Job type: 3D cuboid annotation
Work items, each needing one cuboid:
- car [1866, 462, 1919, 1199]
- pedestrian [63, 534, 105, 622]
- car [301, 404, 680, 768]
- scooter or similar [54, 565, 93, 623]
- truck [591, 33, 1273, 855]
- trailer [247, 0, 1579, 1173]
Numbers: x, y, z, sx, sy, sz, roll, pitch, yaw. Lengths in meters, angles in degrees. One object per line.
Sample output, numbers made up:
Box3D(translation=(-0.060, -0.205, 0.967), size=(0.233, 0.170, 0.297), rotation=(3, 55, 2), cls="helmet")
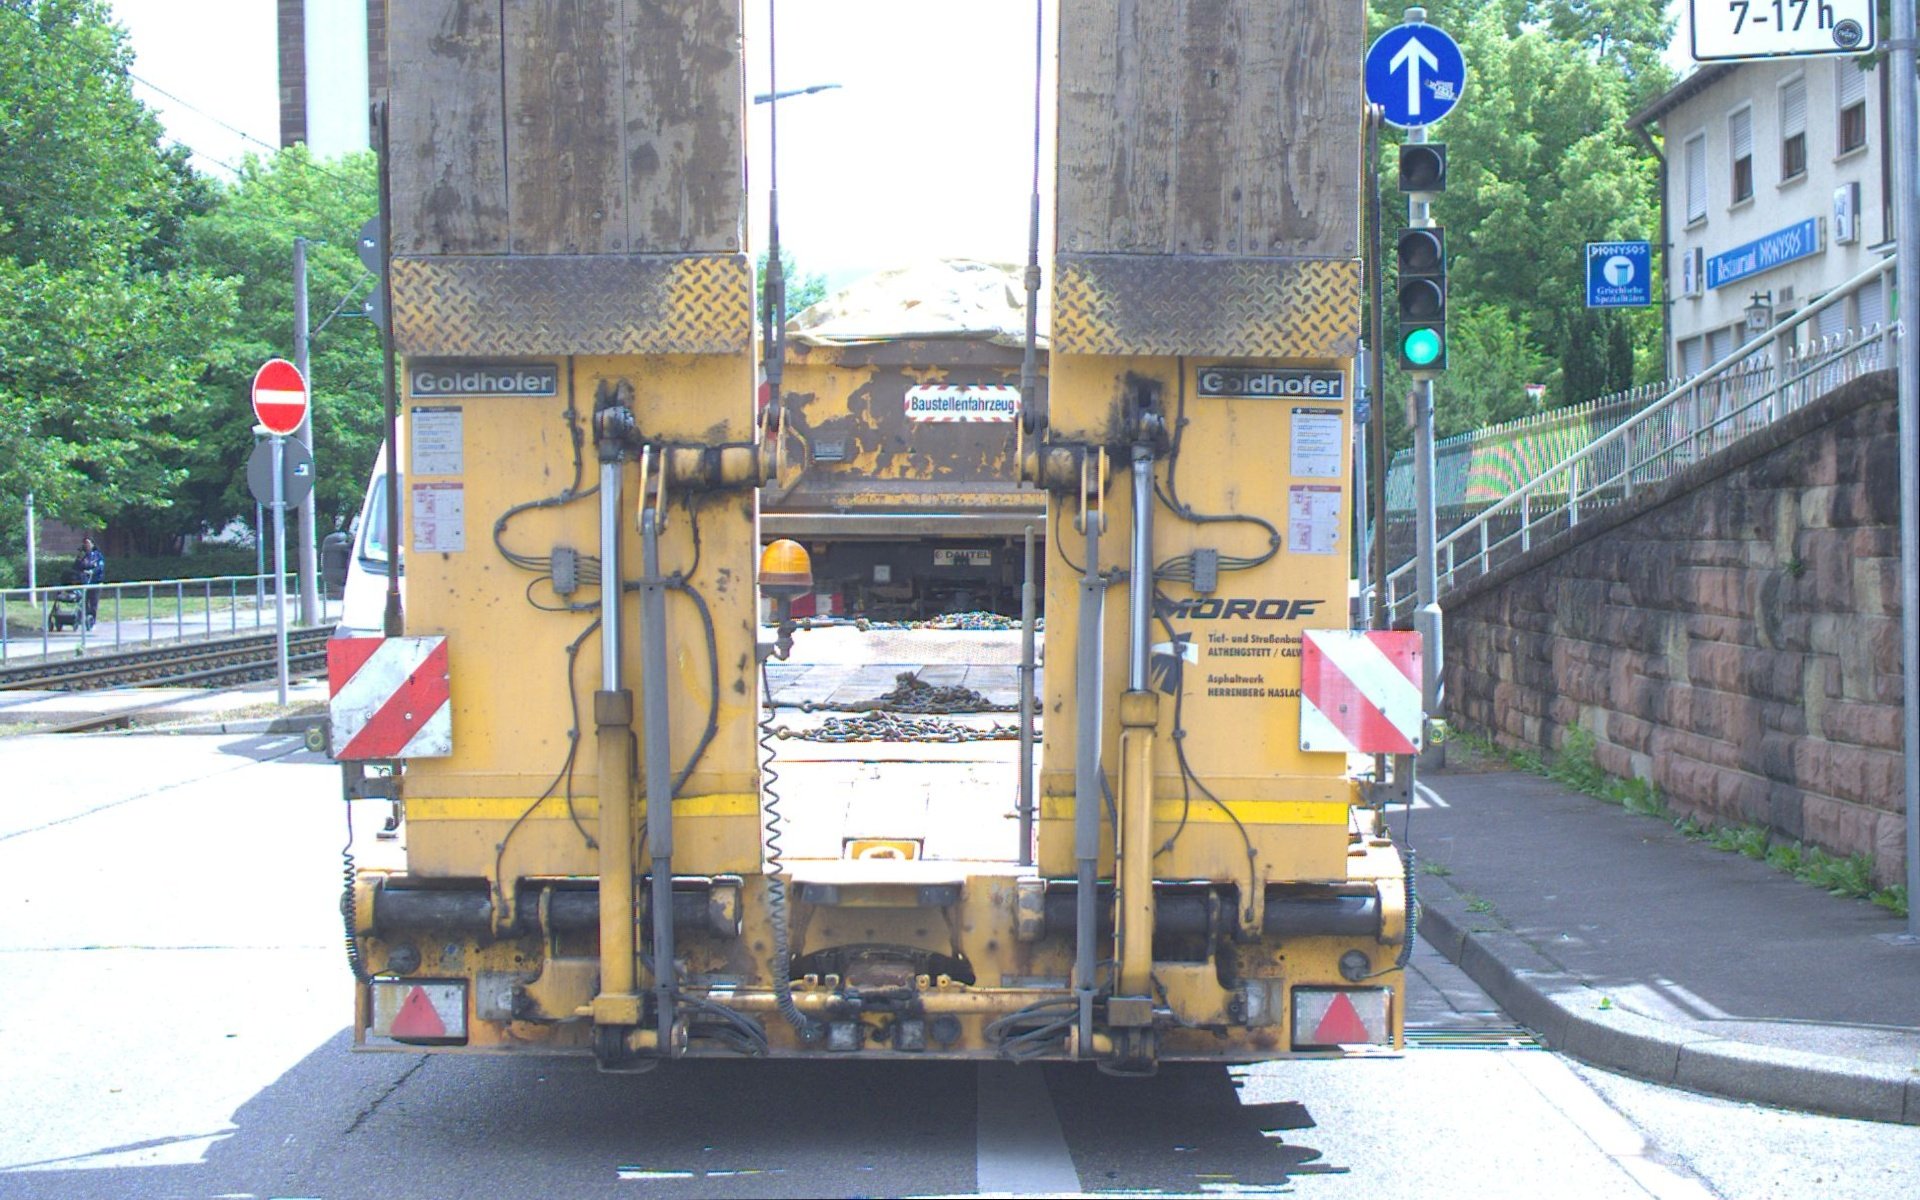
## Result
Box3D(translation=(2.723, 0.560, 4.709), size=(1.851, 1.633, 4.000), rotation=(-2, 1, 0), cls="car")
Box3D(translation=(-15.213, -0.378, 59.690), size=(0.563, 1.508, 0.646), rotation=(1, 1, -2), cls="pedestrian")
Box3D(translation=(-3.302, -0.144, 25.251), size=(2.013, 2.351, 5.383), rotation=(1, 1, 0), cls="car")
Box3D(translation=(-15.220, -0.103, 59.046), size=(0.505, 0.968, 0.646), rotation=(1, 1, -2), cls="scooter or similar")
Box3D(translation=(-0.126, -0.733, 17.520), size=(2.942, 3.560, 4.877), rotation=(-1, 1, 0), cls="truck")
Box3D(translation=(-0.115, -0.618, 12.029), size=(2.945, 3.589, 8.684), rotation=(-1, 1, 0), cls="trailer")
